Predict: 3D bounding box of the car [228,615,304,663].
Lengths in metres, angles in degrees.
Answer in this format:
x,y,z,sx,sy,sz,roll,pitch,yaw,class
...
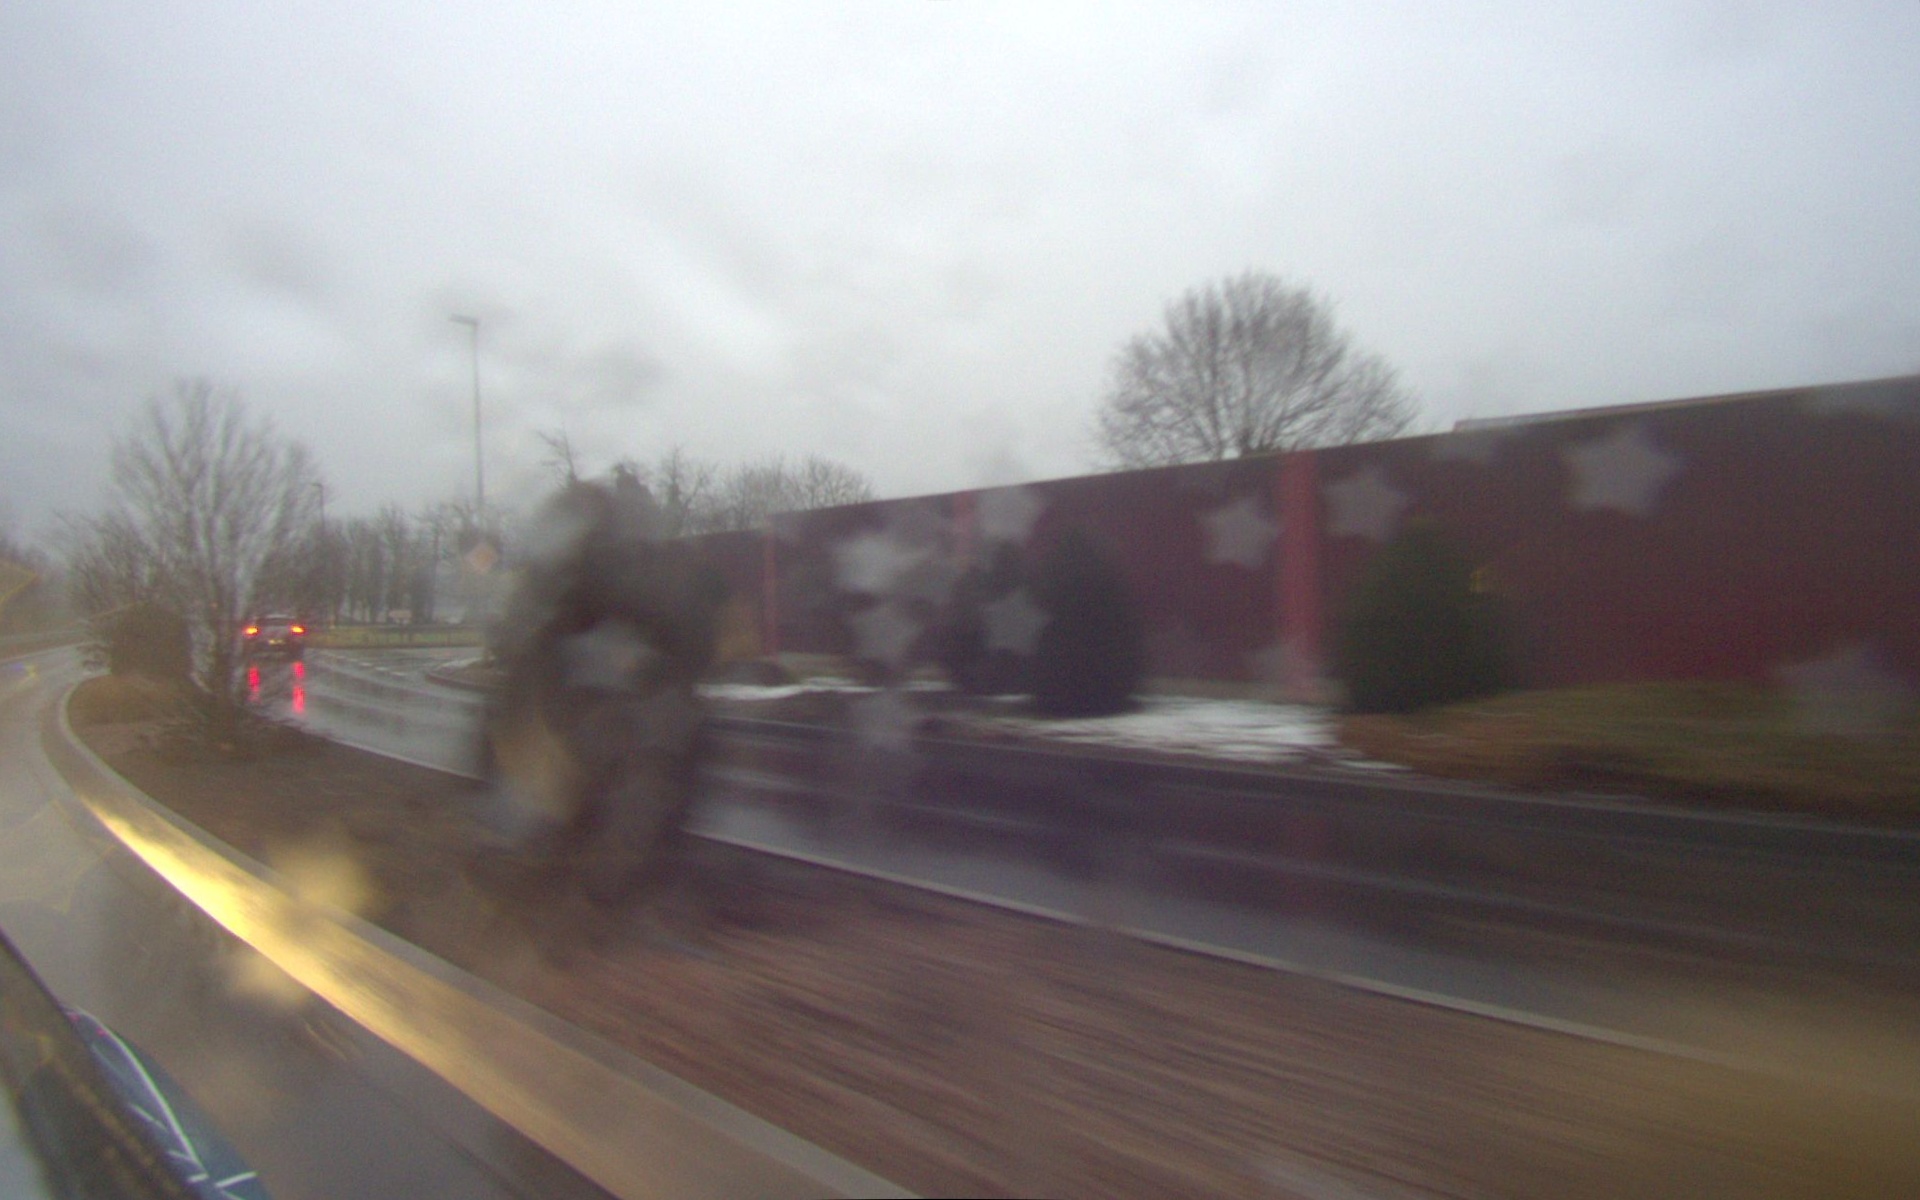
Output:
x,y,z,sx,sy,sz,roll,pitch,yaw,class
-25.364,1.376,36.965,1.674,1.590,3.888,-1,0,-44,car
